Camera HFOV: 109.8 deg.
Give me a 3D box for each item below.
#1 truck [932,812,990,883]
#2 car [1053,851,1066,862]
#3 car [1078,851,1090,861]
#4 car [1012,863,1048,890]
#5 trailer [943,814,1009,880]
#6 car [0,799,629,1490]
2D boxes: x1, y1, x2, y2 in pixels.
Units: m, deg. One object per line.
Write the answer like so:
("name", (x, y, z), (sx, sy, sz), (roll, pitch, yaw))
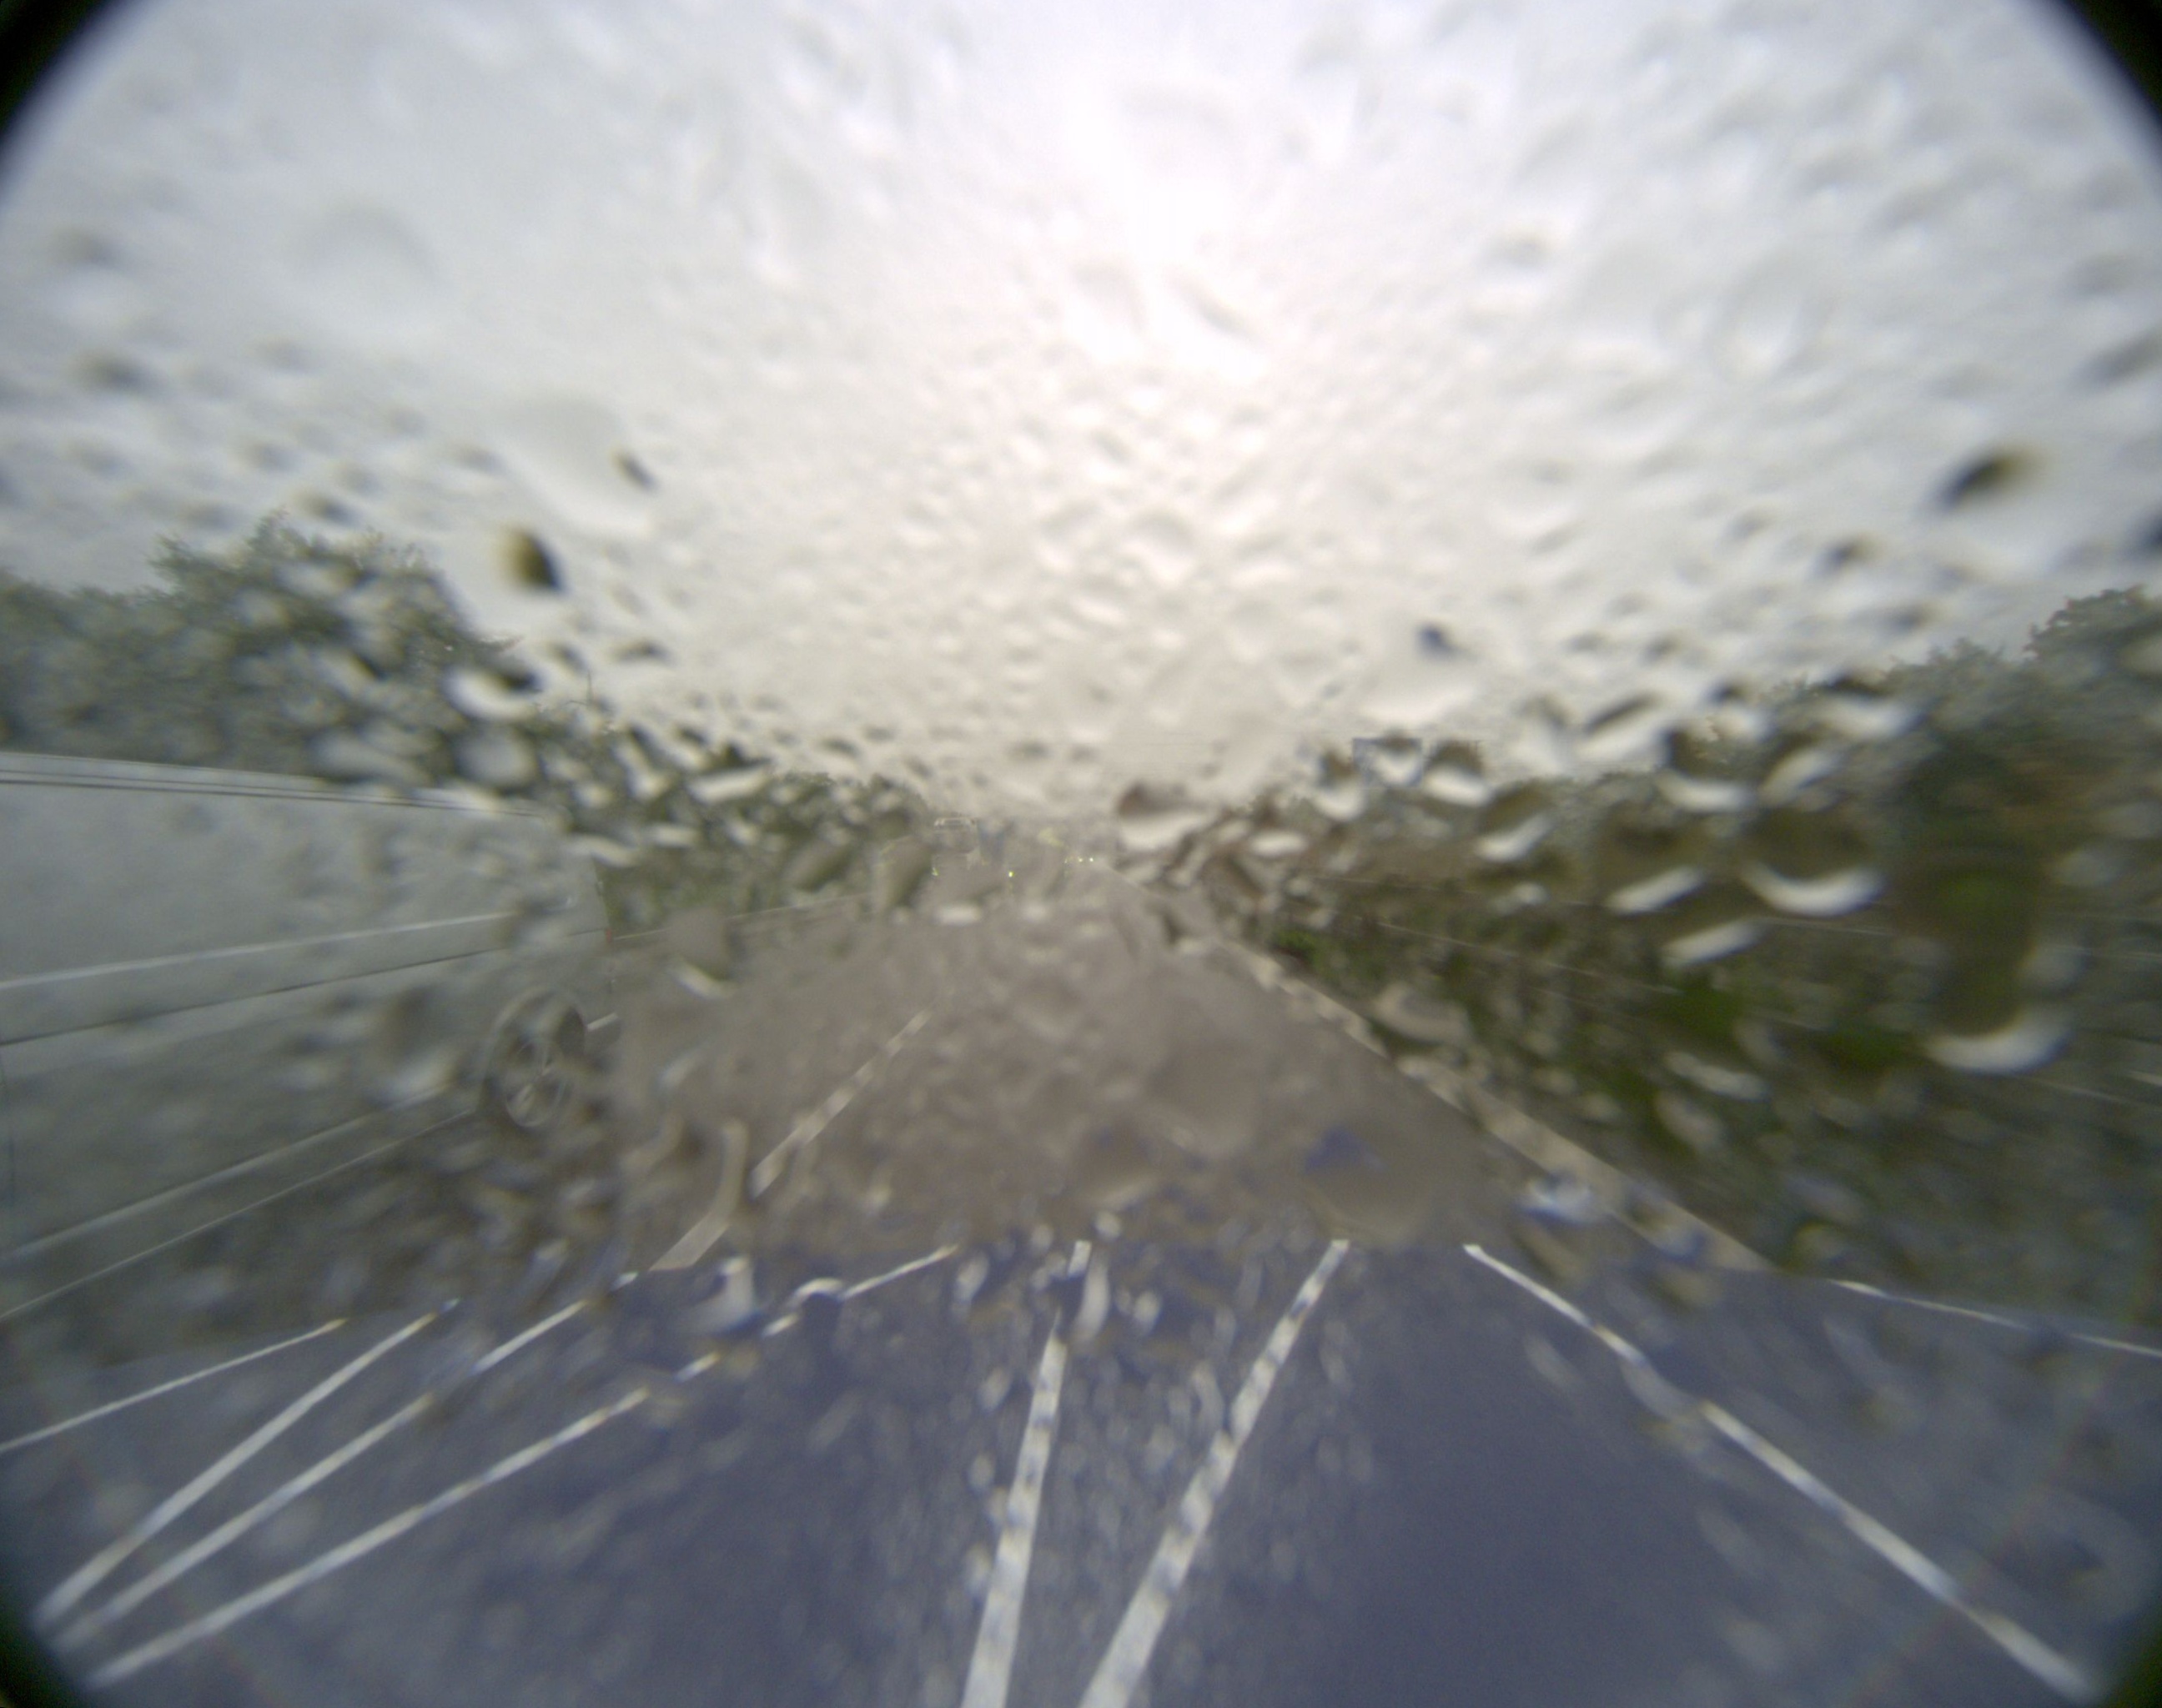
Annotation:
("truck", (-7.232, -0.397, 46.468), (2.618, 4.064, 5.237), (-1, 1, 1))
("car", (-3.199, 0.352, 113.188), (1.769, 1.448, 3.959), (-1, 1, 1))
("car", (0.492, 0.307, 115.305), (1.769, 1.448, 3.959), (-1, 1, 1))
("car", (-3.062, 1.318, 46.300), (1.769, 1.448, 3.959), (-1, 1, 2))
("trailer", (-7.157, -0.469, 54.008), (2.618, 4.064, 13.789), (-1, 0, 1))
("car", (-3.888, 0.802, 2.355), (1.892, 1.873, 5.008), (-1, 1, 1))
